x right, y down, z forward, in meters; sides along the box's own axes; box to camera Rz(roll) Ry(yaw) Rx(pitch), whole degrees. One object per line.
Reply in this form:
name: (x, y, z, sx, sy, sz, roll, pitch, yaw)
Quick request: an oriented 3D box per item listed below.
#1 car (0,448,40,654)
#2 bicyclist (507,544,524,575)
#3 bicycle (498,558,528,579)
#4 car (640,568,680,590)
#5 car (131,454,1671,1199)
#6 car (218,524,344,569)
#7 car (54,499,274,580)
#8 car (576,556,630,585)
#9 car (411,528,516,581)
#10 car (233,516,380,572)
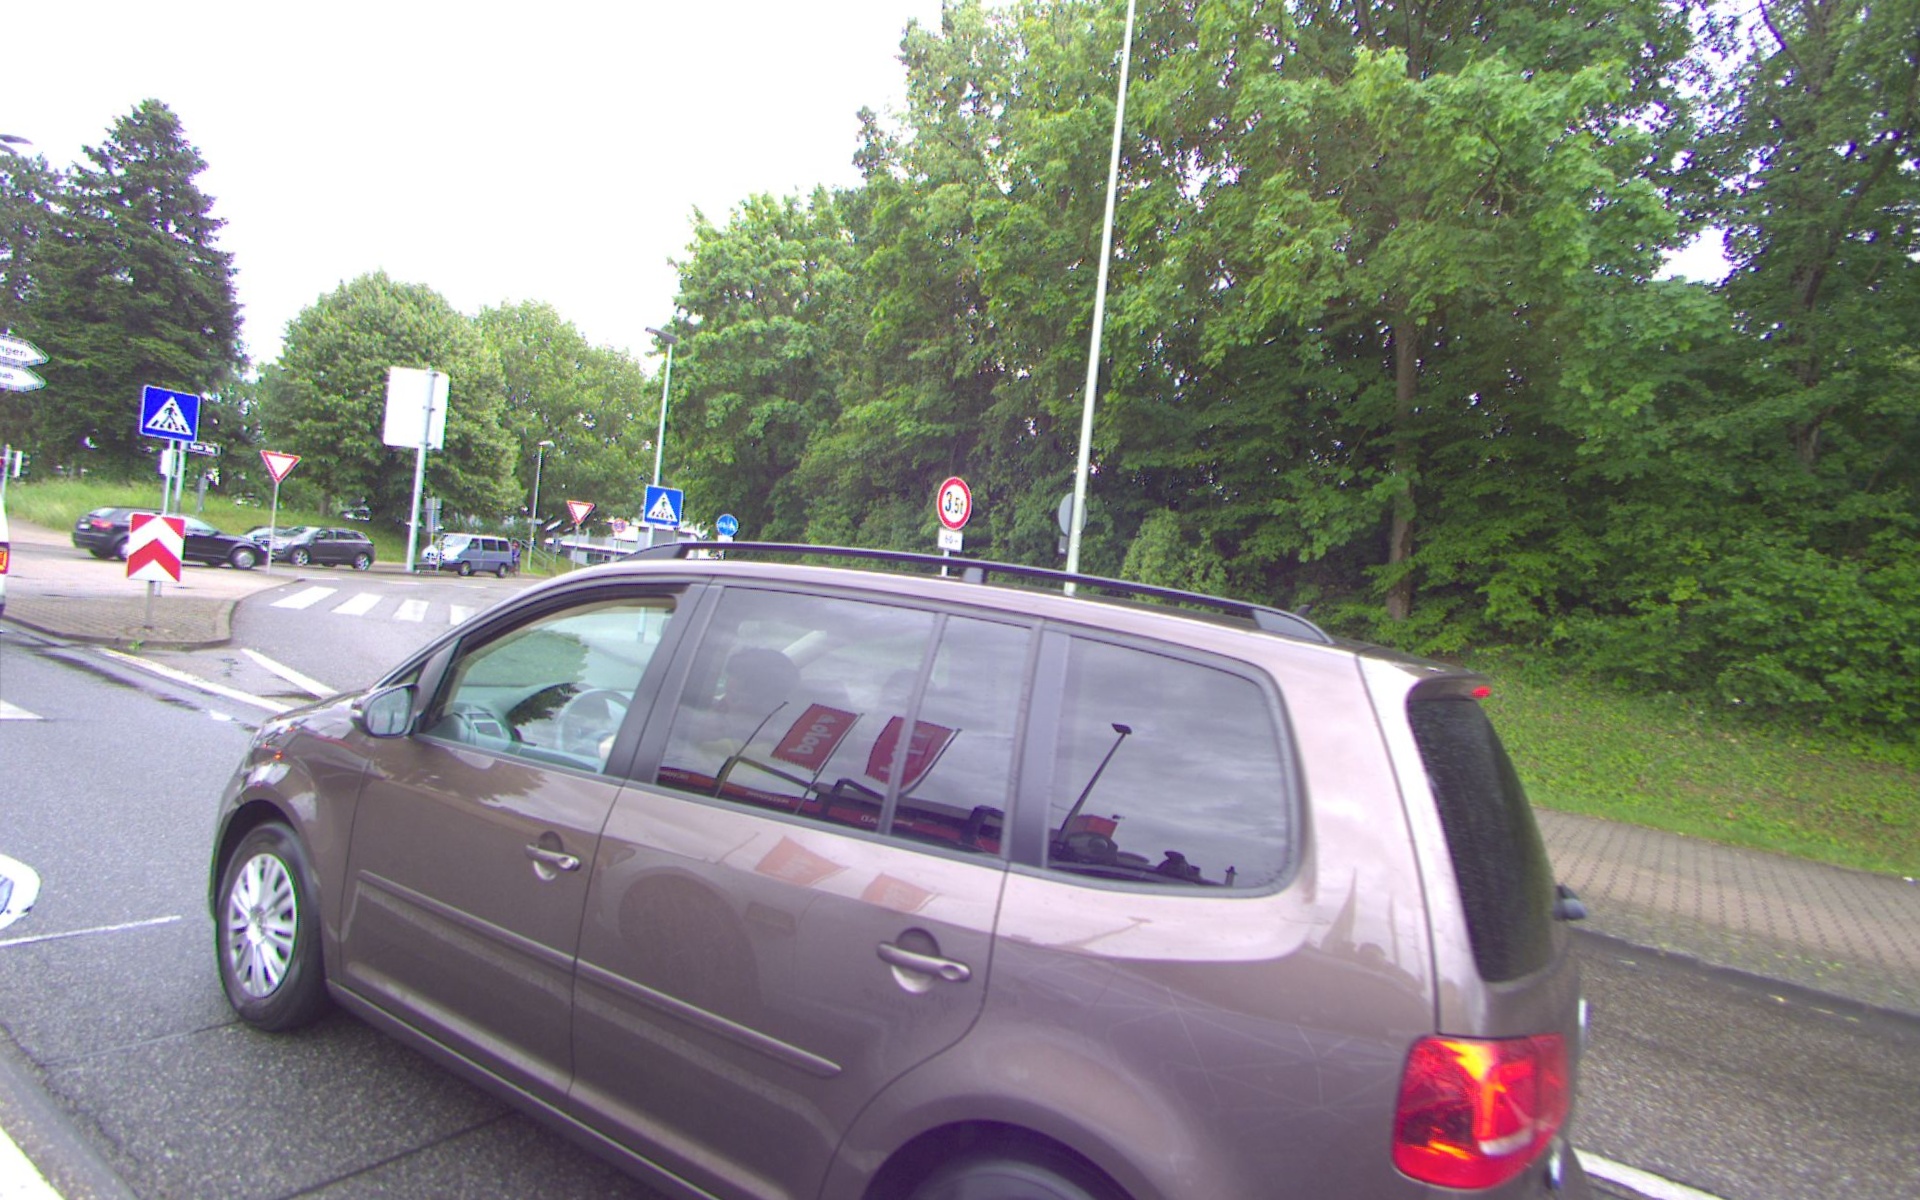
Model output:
car: (-10.887, -0.708, 9.742, 3.880, 1.891, 1.745, 7, -1, 31)
bicyclist: (-23.230, -2.115, 52.622, 0.446, 1.507, 0.562, 7, 1, 4)
bicycle: (-23.332, -1.641, 52.497, 0.568, 0.964, 1.750, 7, 0, 4)
car: (-22.766, -1.551, 76.388, 1.923, 1.337, 3.998, 7, 0, -4)
car: (-0.517, 0.638, 3.056, 4.061, 1.616, 1.717, 8, 0, 31)
car: (-26.803, -2.089, 39.862, 1.578, 1.310, 3.999, 8, 1, 14)
car: (-20.948, -1.547, 26.642, 1.869, 1.473, 4.090, 7, -1, 31)
car: (-22.123, -1.799, 62.478, 1.805, 1.465, 3.999, 7, 0, -1)
car: (-22.533, -2.006, 45.882, 1.865, 1.874, 4.744, 9, 0, 5)
car: (-24.397, -2.057, 37.741, 1.865, 1.485, 4.331, 7, 0, 18)
